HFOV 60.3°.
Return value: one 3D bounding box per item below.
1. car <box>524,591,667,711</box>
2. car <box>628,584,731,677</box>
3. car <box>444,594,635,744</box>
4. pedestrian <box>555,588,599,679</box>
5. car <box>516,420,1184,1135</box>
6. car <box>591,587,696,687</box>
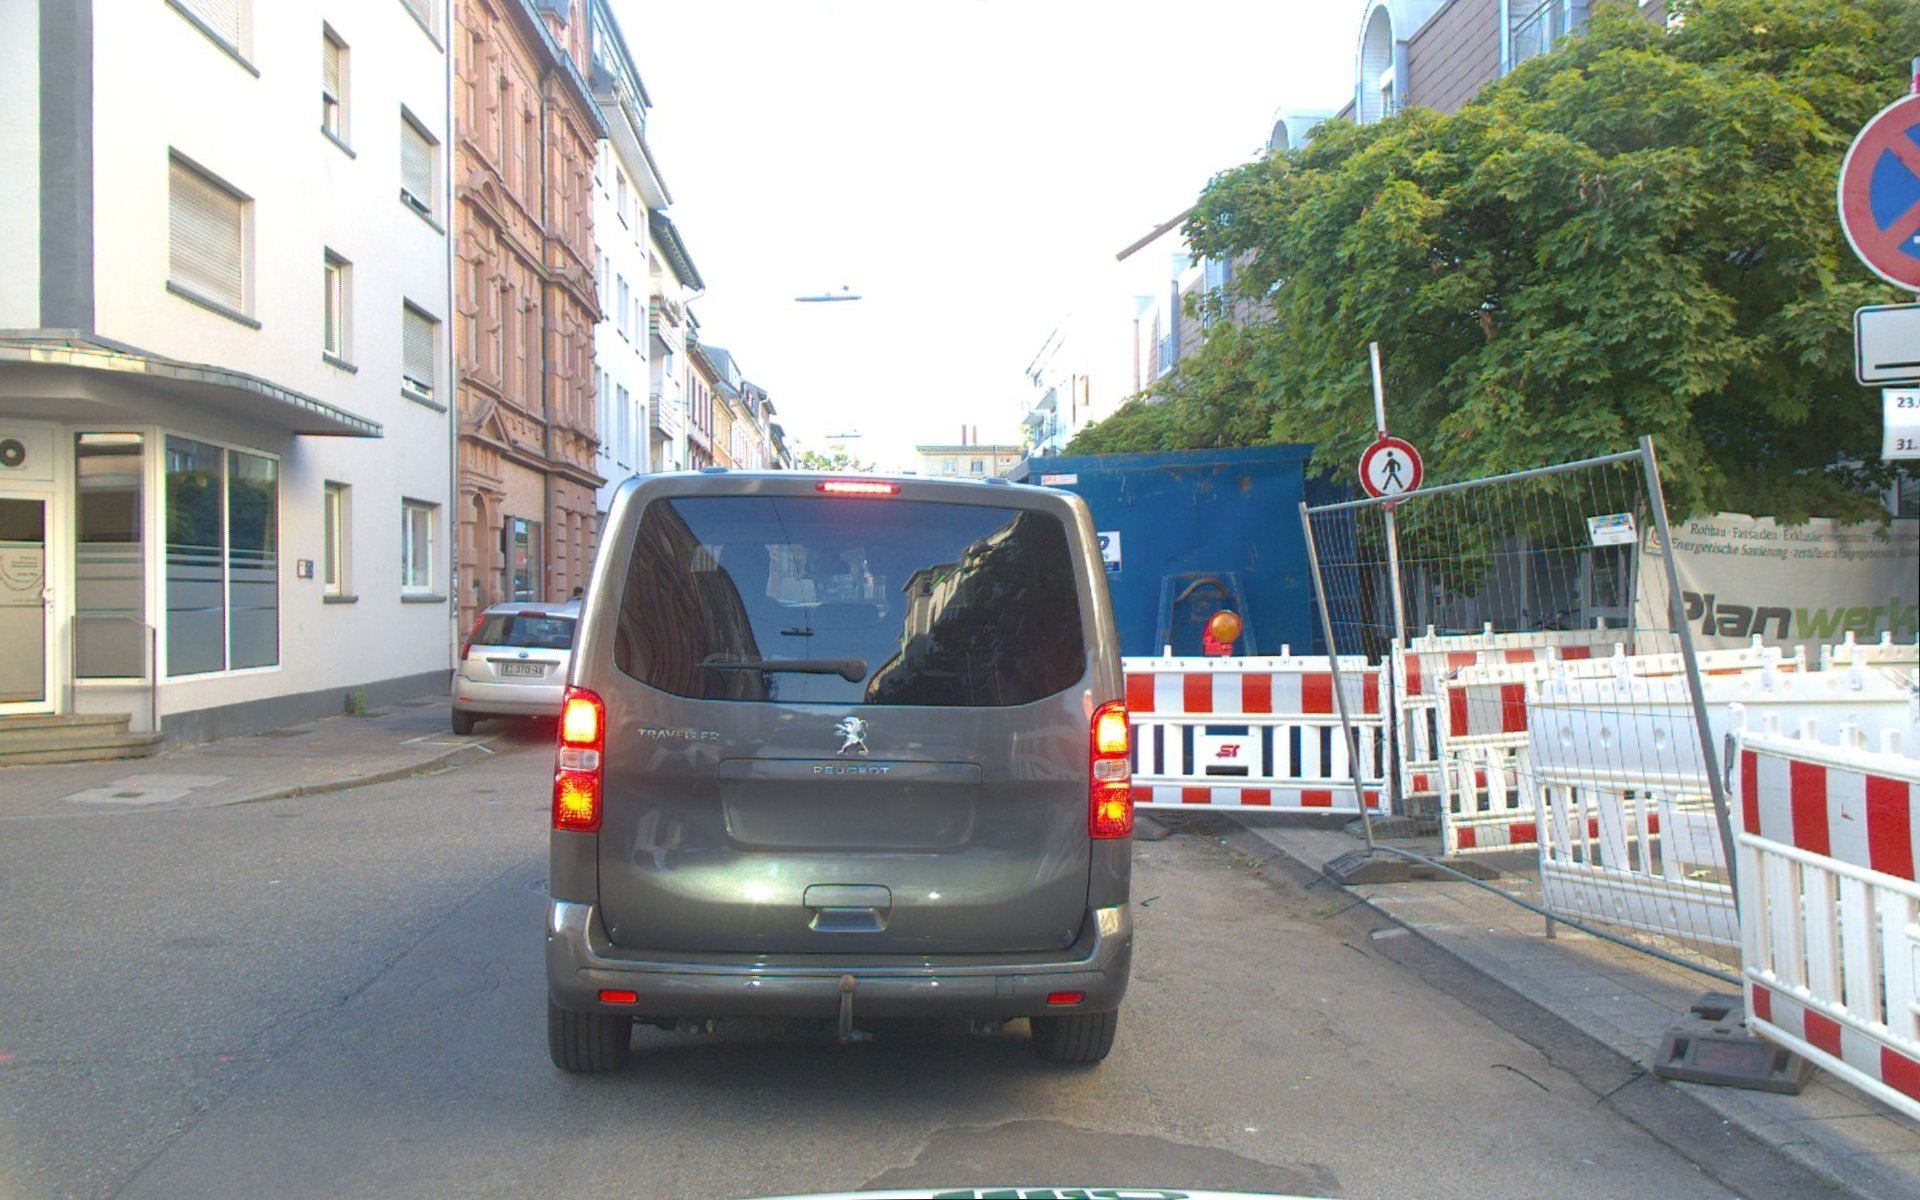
[{"bbox_3d":[-5.353,0.722,24.646,1.625,1.552,3.413,4,-1,-7],"label":"car"},{"bbox_3d":[-5.934,0.645,35.366,1.856,1.749,3.748,4,-1,-7],"label":"car"},{"bbox_3d":[-4.812,0.754,19.346,1.625,1.485,3.413,4,-1,-7],"label":"car"},{"bbox_3d":[-7.258,0.620,31.334,0.726,1.693,0.702,-1,0,-8],"label":"pedestrian"},{"bbox_3d":[-0.519,0.500,6.663,1.829,1.919,4.229,0,-1,-7],"label":"car"},{"bbox_3d":[-6.025,0.693,31.719,1.635,1.695,3.087,4,-1,-7],"label":"car"}]
